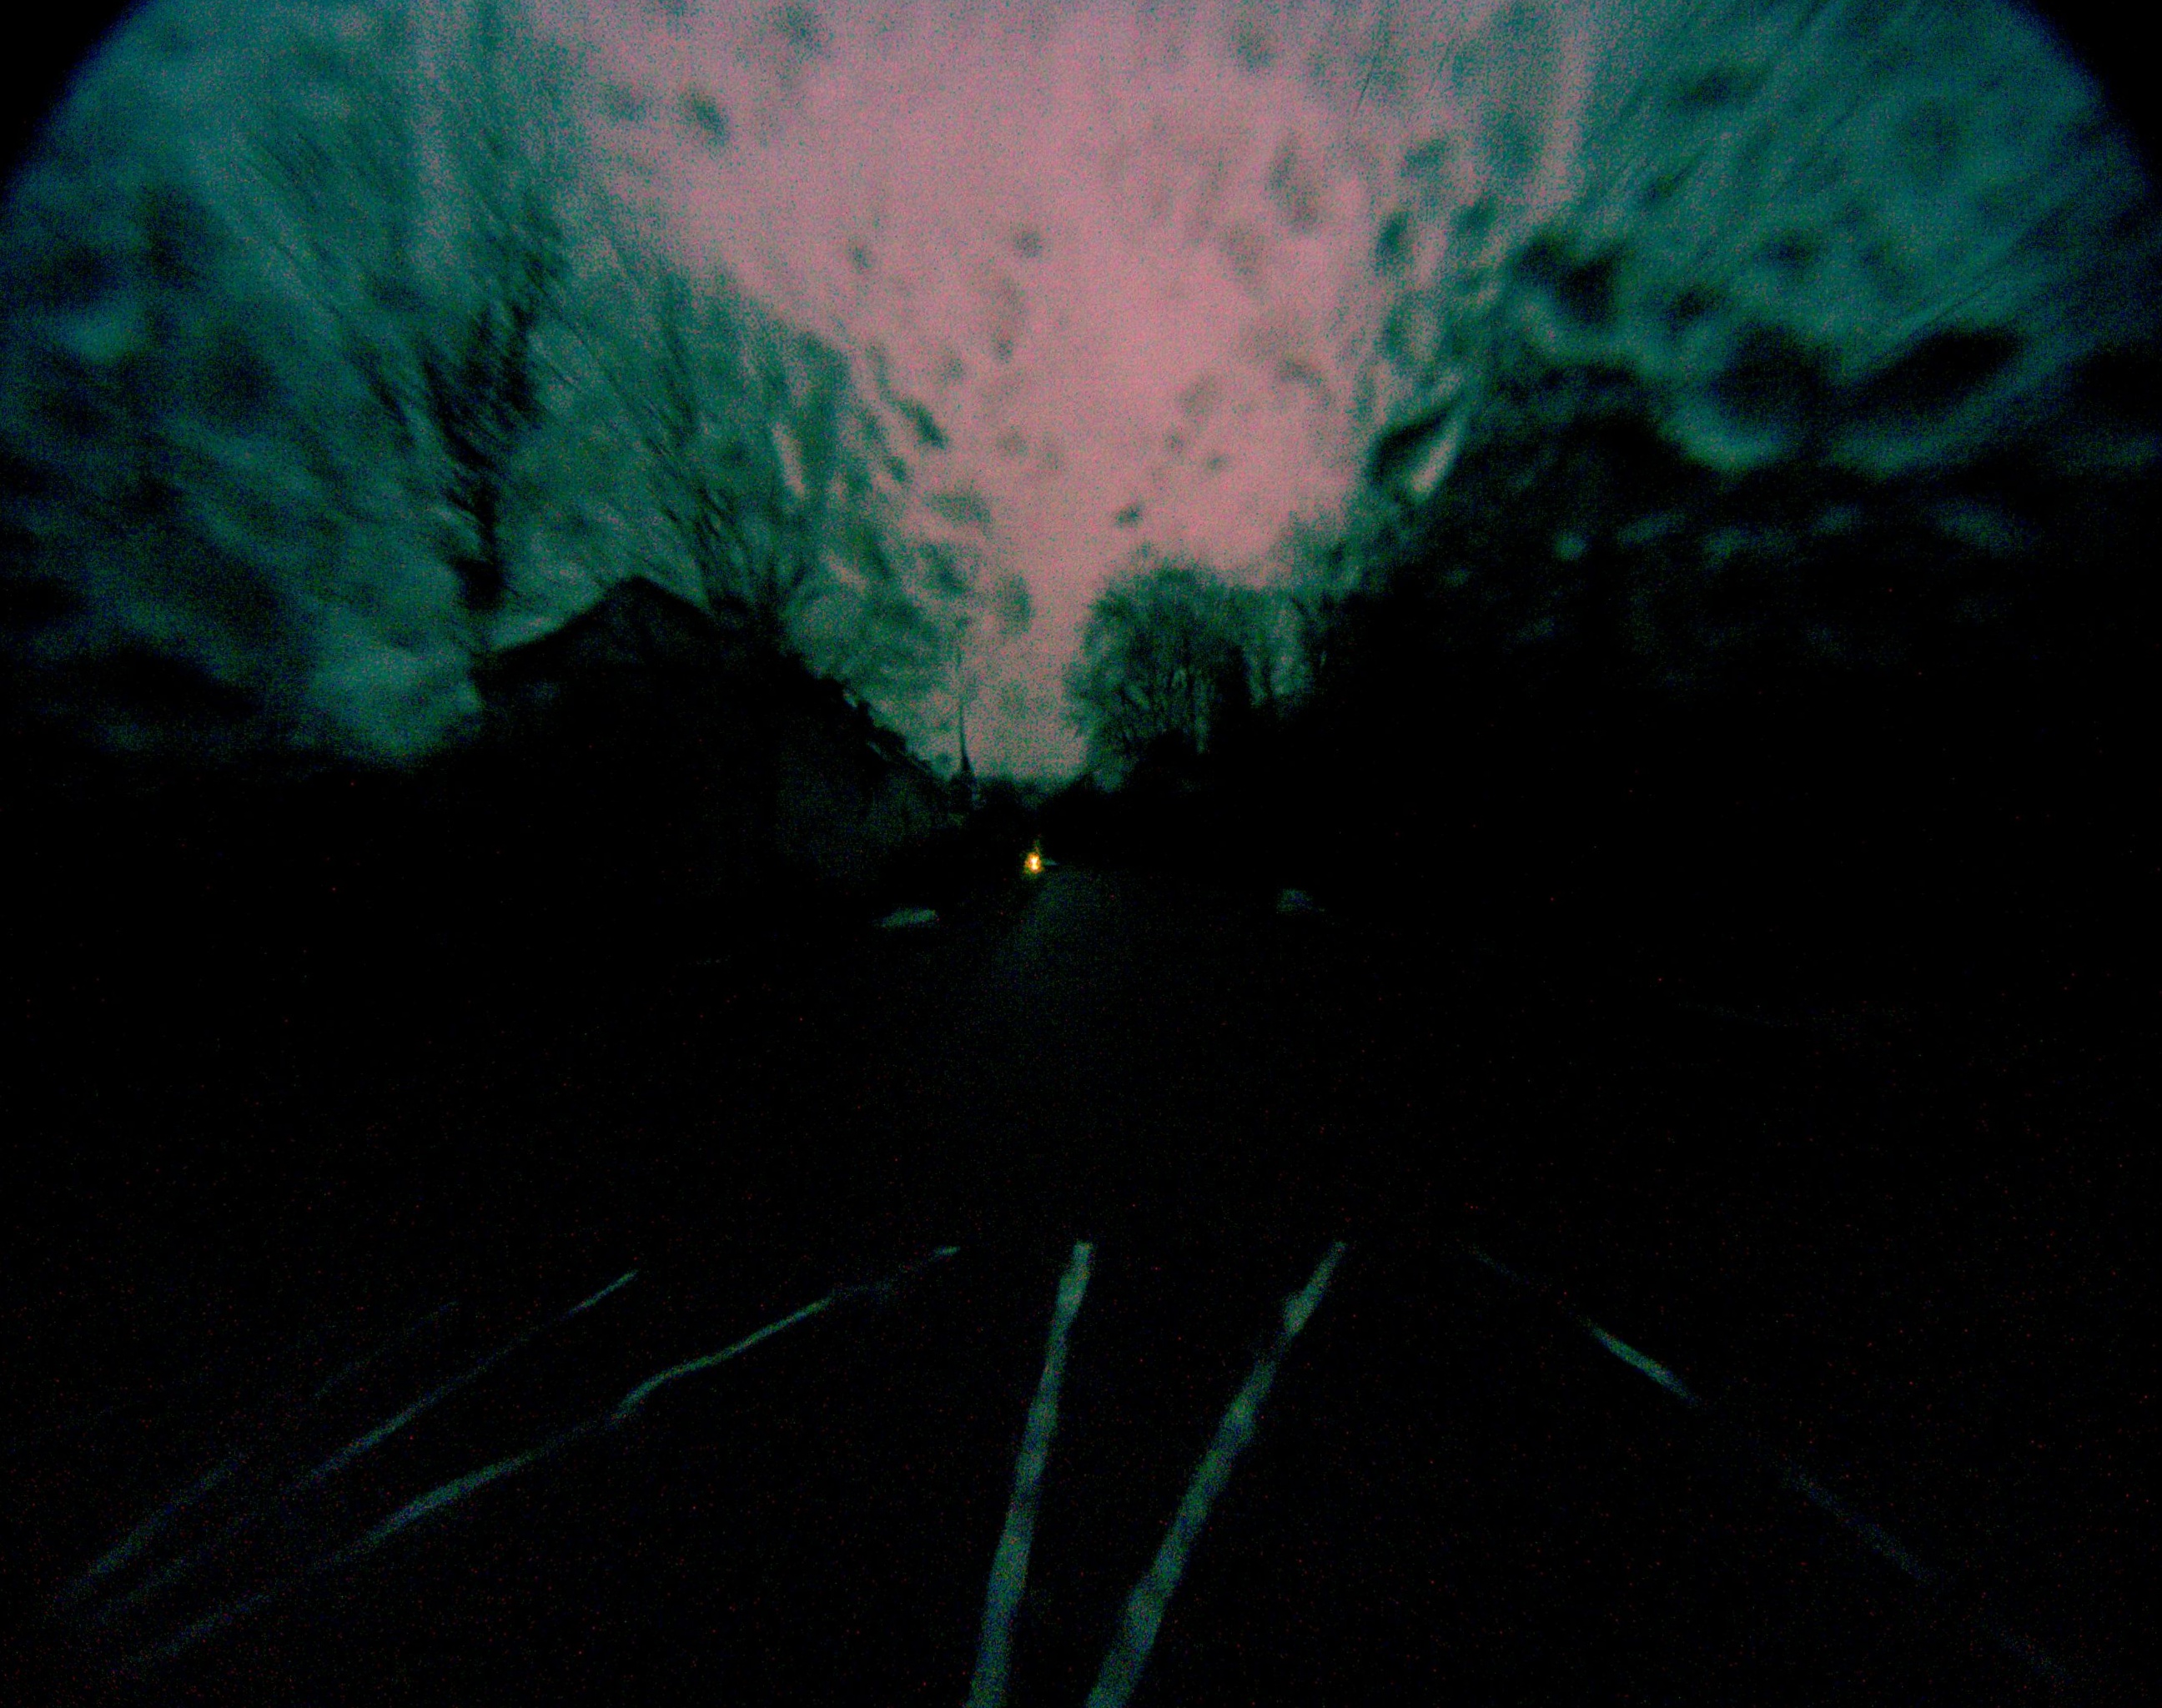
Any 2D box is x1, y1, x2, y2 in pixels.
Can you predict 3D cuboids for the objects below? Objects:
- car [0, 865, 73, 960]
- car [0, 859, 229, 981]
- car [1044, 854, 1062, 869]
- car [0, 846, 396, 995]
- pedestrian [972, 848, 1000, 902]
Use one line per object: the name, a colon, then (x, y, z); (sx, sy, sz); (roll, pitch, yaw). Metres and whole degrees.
car: (-18.336, 1.069, 11.273); (1.642, 1.465, 3.736); (-1, 4, 0)
car: (-15.661, 0.954, 11.315); (1.642, 1.465, 3.736); (-1, 4, 0)
car: (-3.155, 0.819, 84.846); (1.709, 1.497, 4.021); (-2, 1, -7)
car: (-12.996, 0.836, 11.572); (1.642, 1.674, 3.736); (-1, 4, 0)
pedestrian: (-2.937, 0.636, 23.478); (0.745, 1.645, 0.970); (-1, 0, -2)
